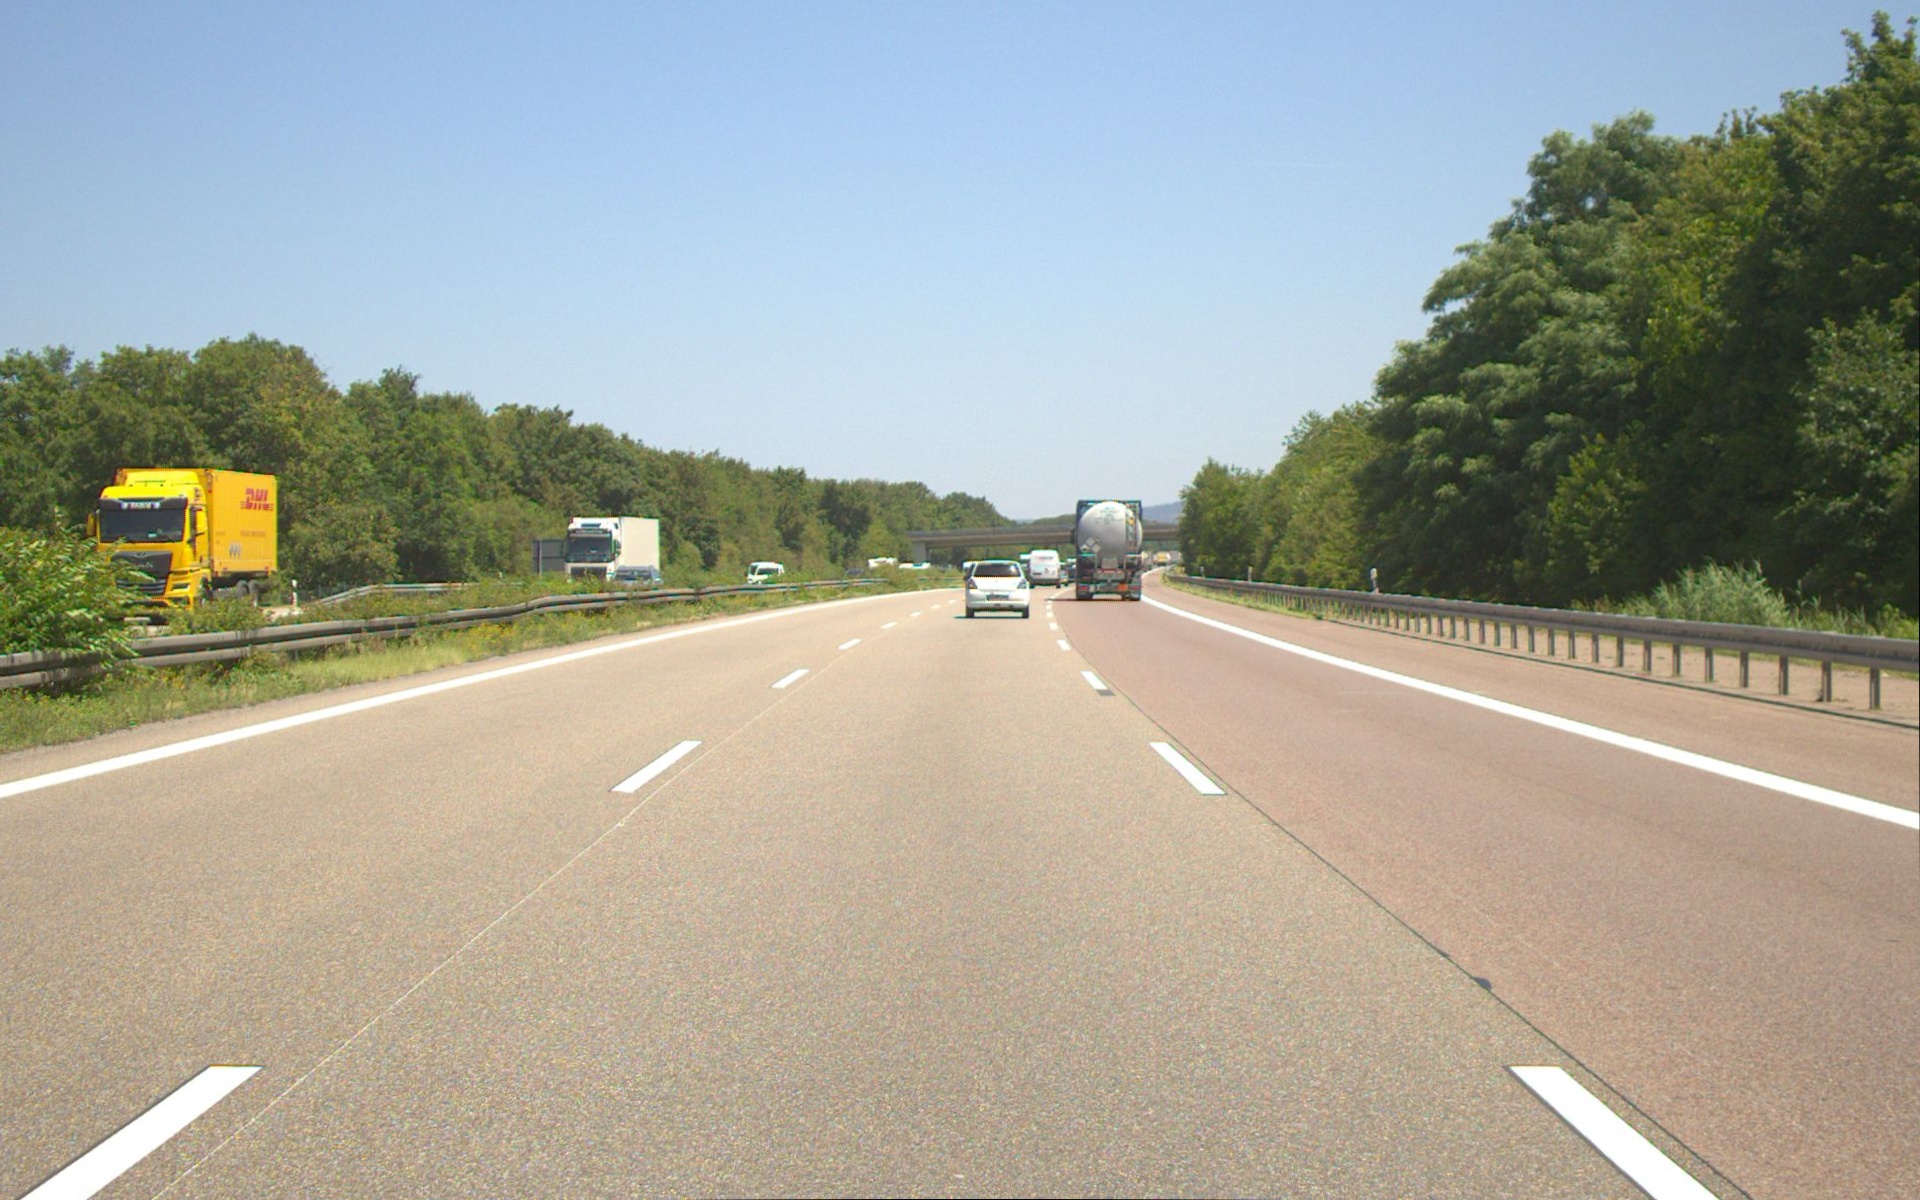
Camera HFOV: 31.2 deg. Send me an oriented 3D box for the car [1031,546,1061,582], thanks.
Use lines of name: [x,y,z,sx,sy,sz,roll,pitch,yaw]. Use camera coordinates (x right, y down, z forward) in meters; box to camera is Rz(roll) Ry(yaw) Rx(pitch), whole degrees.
car: [5.646,-2.349,225.871,1.993,2.335,4.387,0,1,1]

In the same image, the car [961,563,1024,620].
car: [0.890,-0.246,91.410,1.627,1.474,4.000,0,0,1]

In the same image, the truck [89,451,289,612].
truck: [-20.328,-1.716,91.343,2.749,4.026,10.792,0,0,1]

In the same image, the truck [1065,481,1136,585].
truck: [5.643,-2.637,138.541,2.739,4.038,10.454,0,0,2]

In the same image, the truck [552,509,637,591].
truck: [-17.867,-2.438,168.433,3.261,3.938,6.100,0,0,2]
